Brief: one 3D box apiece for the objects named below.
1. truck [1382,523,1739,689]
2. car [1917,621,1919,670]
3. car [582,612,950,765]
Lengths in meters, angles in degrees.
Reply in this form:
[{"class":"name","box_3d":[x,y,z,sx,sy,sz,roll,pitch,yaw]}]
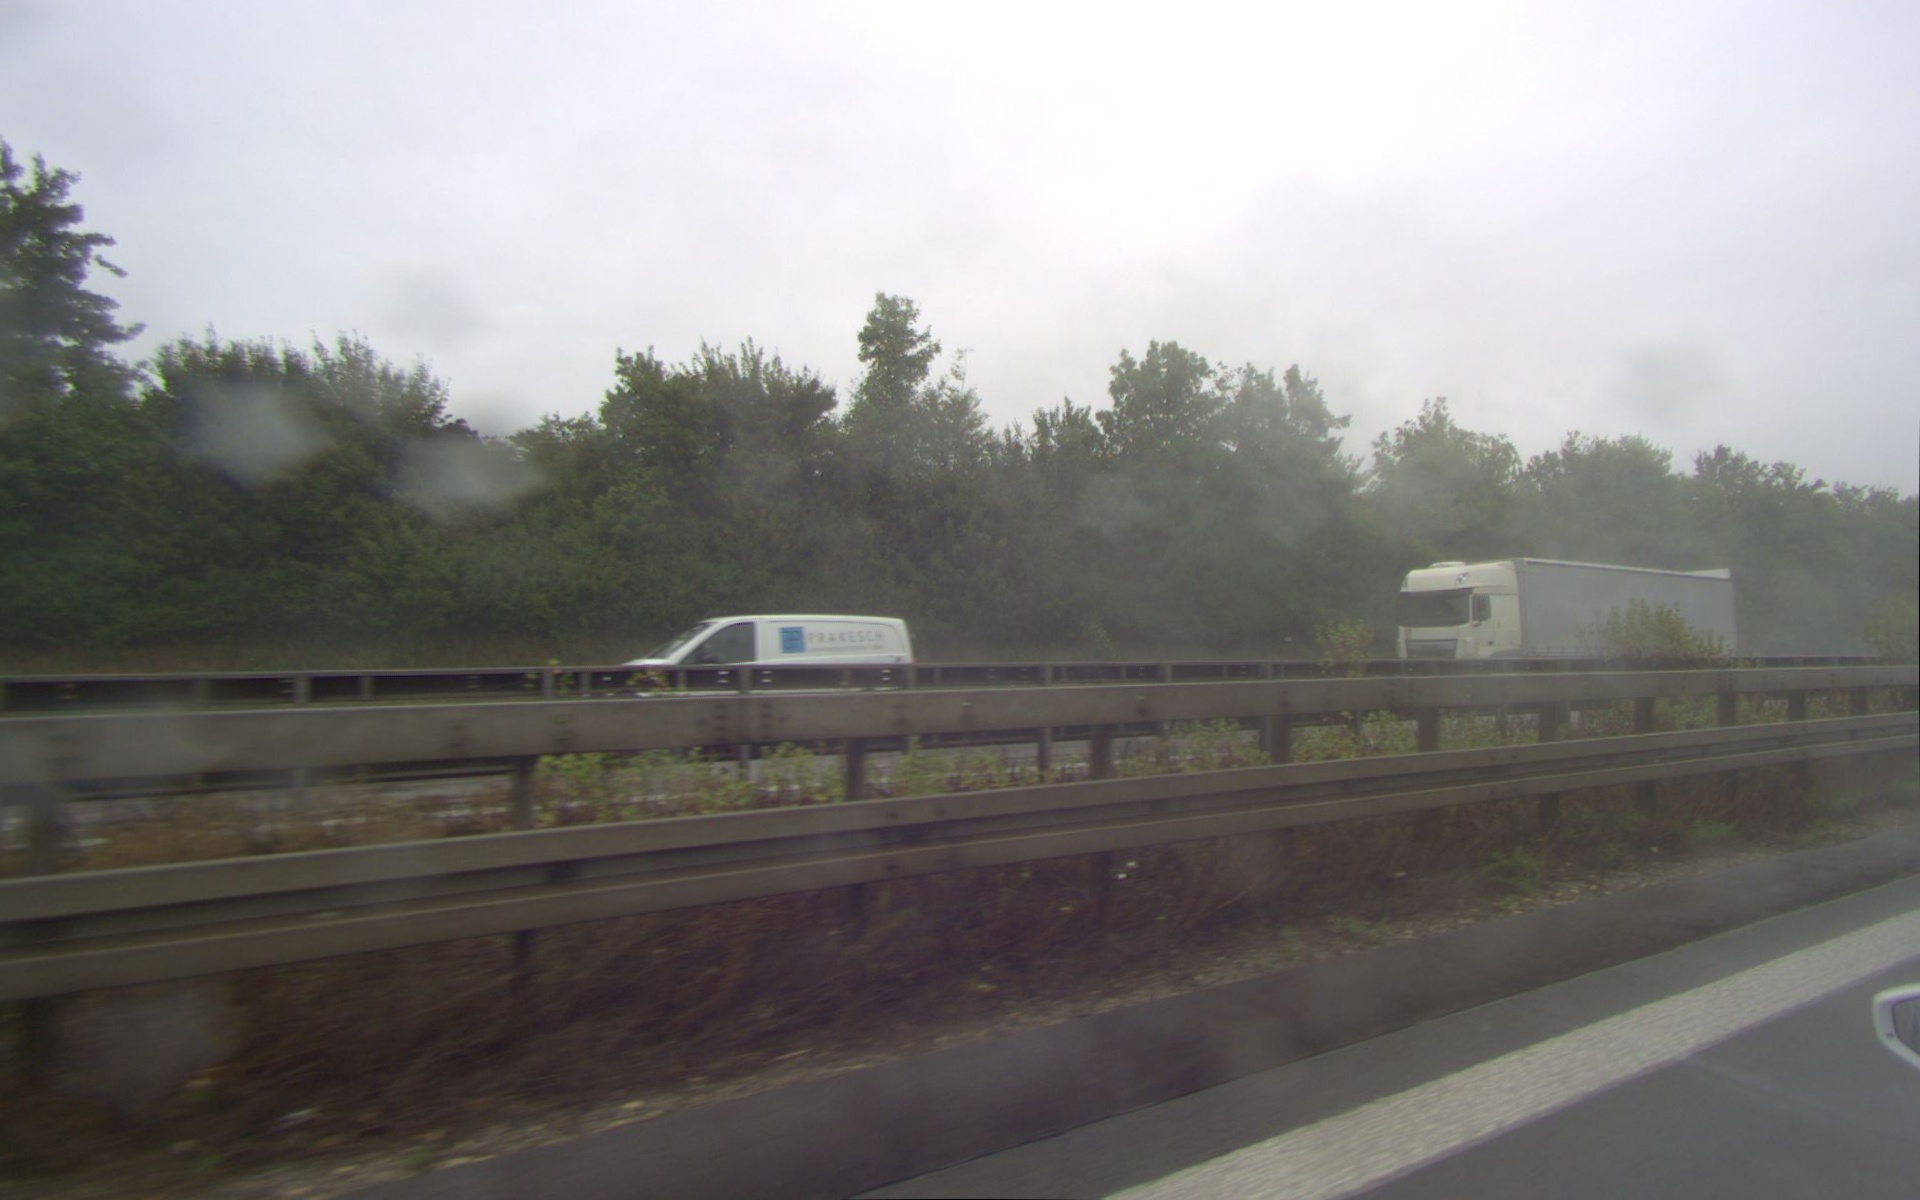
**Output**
[{"class":"truck","box_3d":[21.083,0.247,34.340,16.904,4.737,2.950,1,0,-31]},{"class":"car","box_3d":[41.847,1.904,41.616,4.957,2.012,1.983,1,0,-31]},{"class":"car","box_3d":[-2.926,1.225,15.711,5.340,2.040,1.919,1,0,-31]}]
